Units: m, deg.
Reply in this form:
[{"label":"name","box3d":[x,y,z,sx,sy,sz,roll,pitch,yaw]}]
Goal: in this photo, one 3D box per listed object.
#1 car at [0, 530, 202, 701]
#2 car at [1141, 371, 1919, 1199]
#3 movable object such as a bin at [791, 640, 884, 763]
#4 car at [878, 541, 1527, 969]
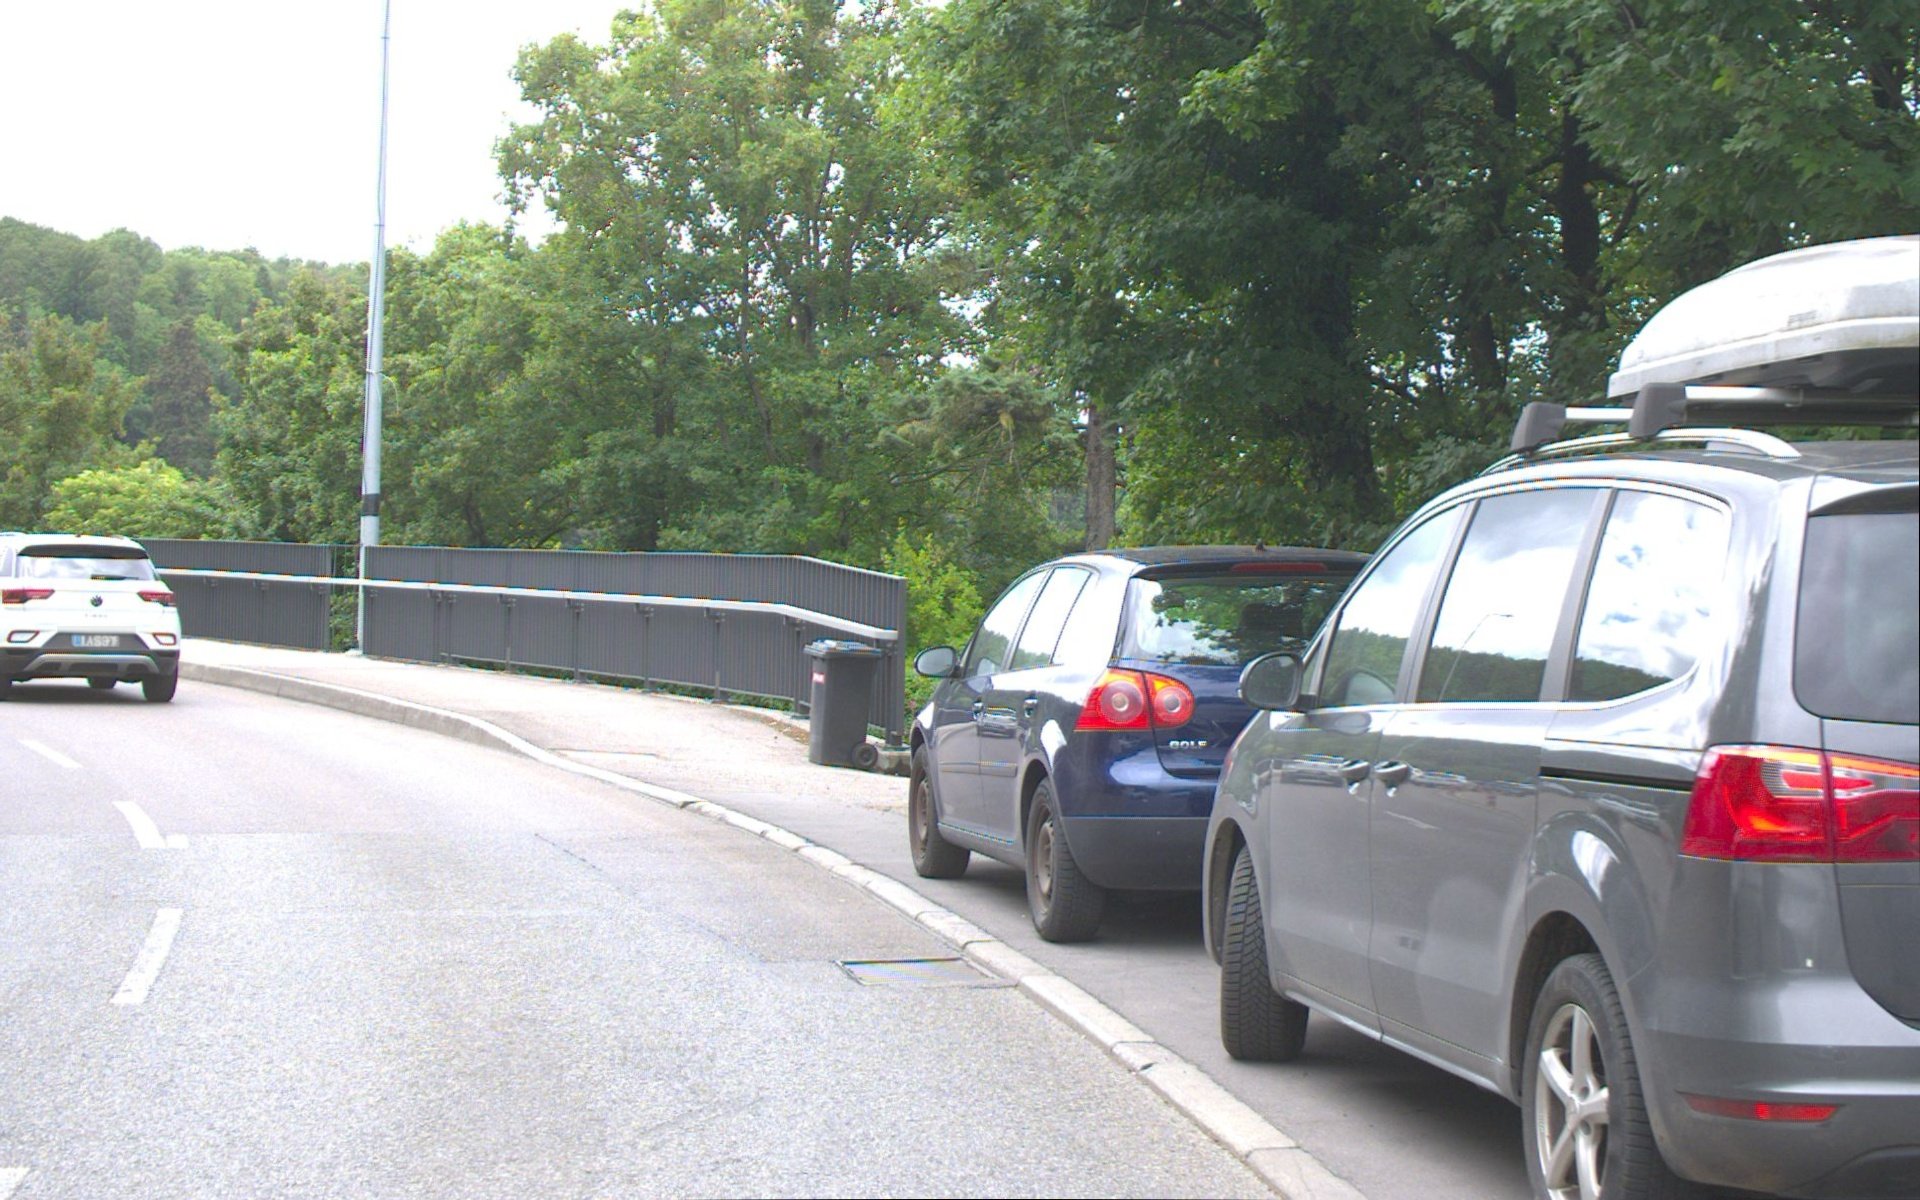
[{"label":"car","box3d":[-8.753,0.117,33.124,1.867,1.531,3.804,1,0,-28]},{"label":"car","box3d":[1.843,0.458,8.374,1.798,1.766,4.609,1,1,-10]},{"label":"movable object such as a bin","box3d":[-0.925,0.763,25.829,0.520,0.878,0.532,3,1,-20]},{"label":"car","box3d":[0.830,0.528,14.209,1.659,1.482,4.036,2,1,-11]}]
